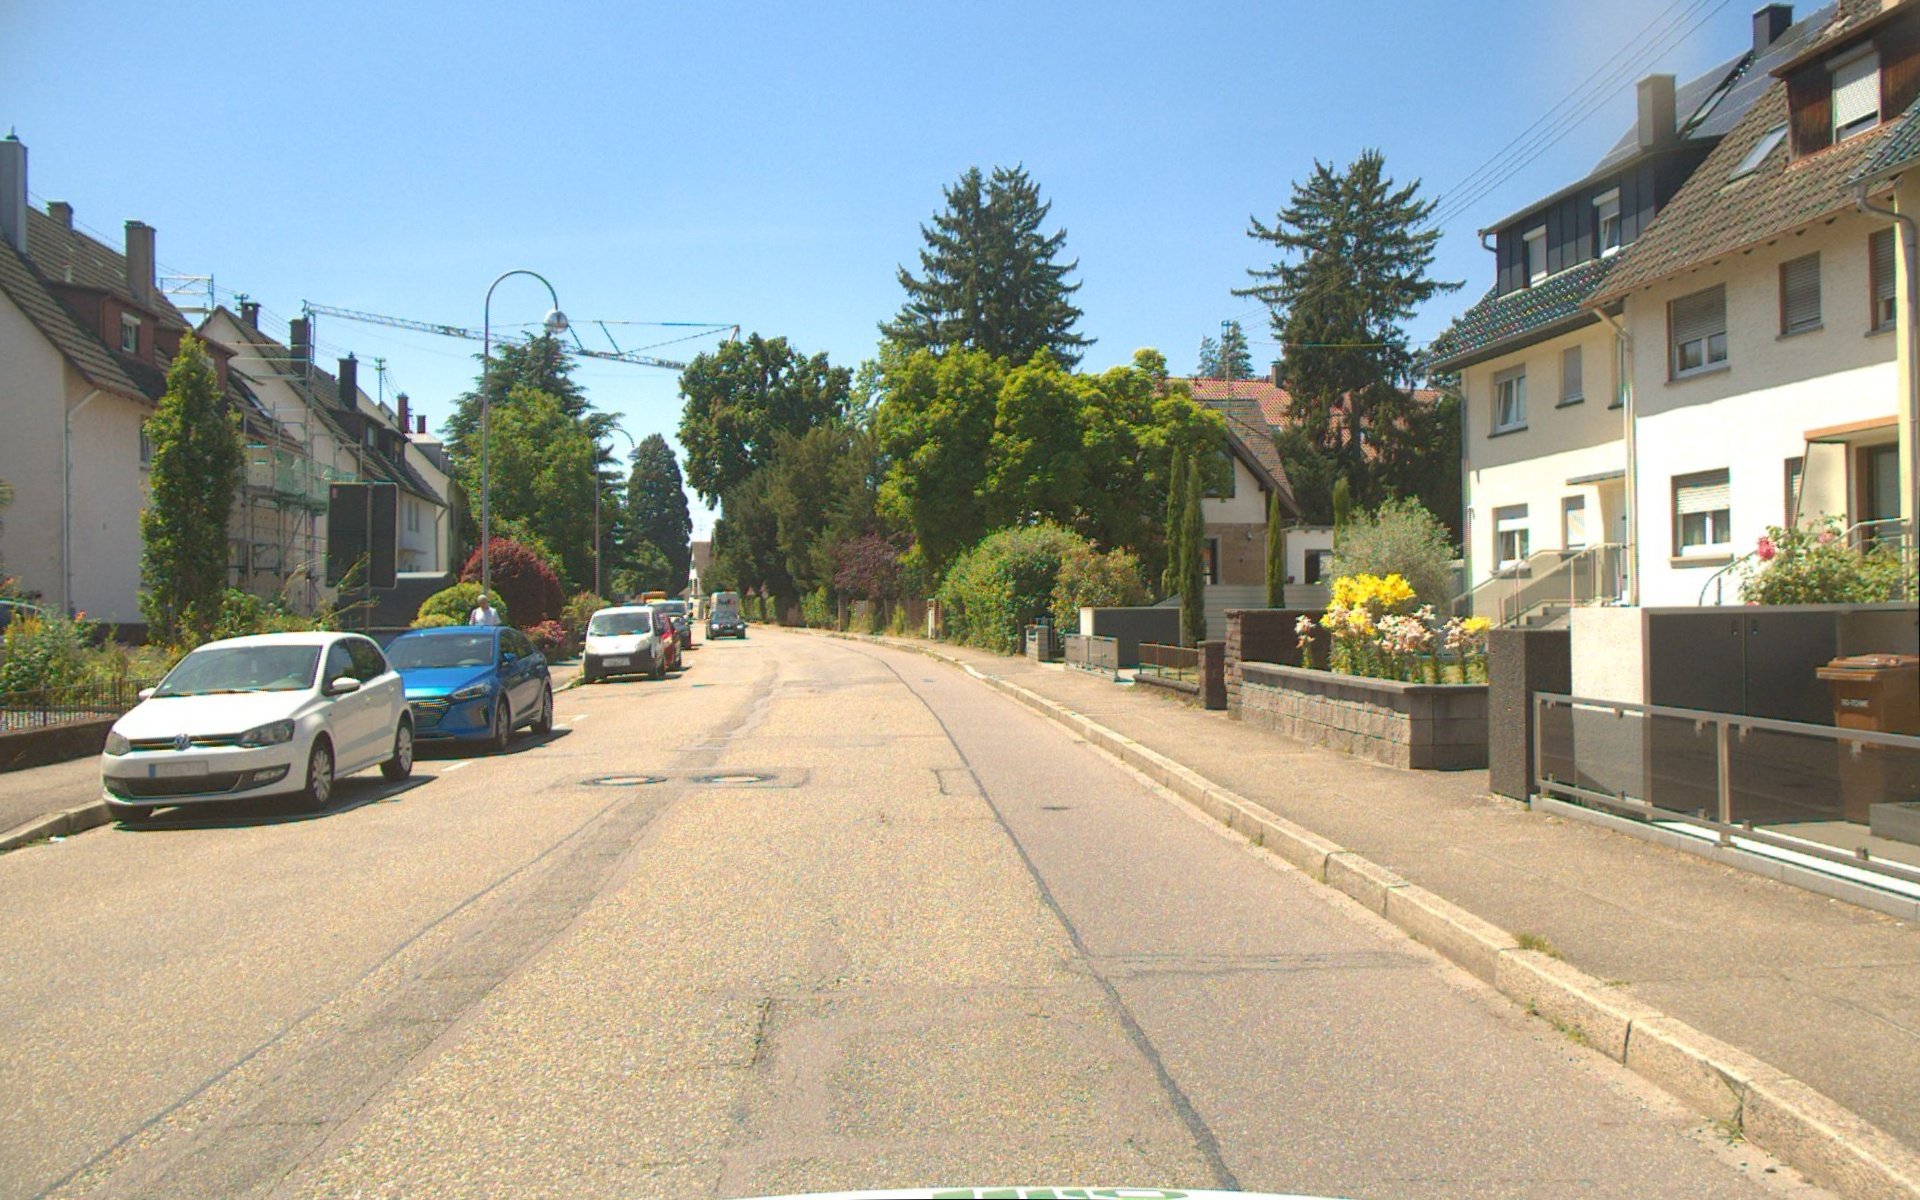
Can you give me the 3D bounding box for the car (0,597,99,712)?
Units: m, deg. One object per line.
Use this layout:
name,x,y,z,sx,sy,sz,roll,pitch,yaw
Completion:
car,-13.805,0.753,22.796,1.734,1.535,4.358,0,-3,-3

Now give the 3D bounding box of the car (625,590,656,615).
car,-23.212,0.177,120.243,1.820,1.700,4.693,-3,0,-15

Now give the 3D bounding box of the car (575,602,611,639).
car,-18.676,1.012,84.246,1.619,1.782,4.341,-3,0,-12

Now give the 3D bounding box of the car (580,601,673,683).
car,-7.934,0.968,39.671,1.690,1.766,3.882,-3,0,-5

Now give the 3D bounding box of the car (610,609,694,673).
car,-8.314,1.078,44.956,1.726,1.503,4.054,-3,0,-4

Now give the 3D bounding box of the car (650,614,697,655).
car,-11.158,1.318,64.568,1.668,1.408,4.226,-4,1,-10

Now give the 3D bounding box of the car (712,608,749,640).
car,-11.353,1.184,81.958,1.699,1.441,3.993,-3,0,-8

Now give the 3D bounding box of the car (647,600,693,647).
car,-12.728,1.012,72.324,1.853,1.914,4.967,-2,0,-11

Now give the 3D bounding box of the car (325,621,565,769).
car,-6.163,1.064,20.307,1.734,1.464,4.359,-3,0,-3

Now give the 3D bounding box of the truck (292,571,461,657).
truck,-14.578,0.335,41.467,3.696,1.971,1.544,-2,0,-7

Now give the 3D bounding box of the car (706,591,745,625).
car,-17.554,0.586,123.883,2.110,2.355,4.830,-3,1,-17

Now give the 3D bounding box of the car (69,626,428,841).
car,-6.020,1.041,14.503,1.547,1.448,3.938,-3,0,-3

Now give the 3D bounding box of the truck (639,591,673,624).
truck,-27.619,0.707,150.181,2.335,2.879,5.632,-2,0,-17

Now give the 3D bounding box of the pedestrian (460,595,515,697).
pedestrian,-9.240,0.886,32.373,0.675,1.922,1.019,3,-1,0
